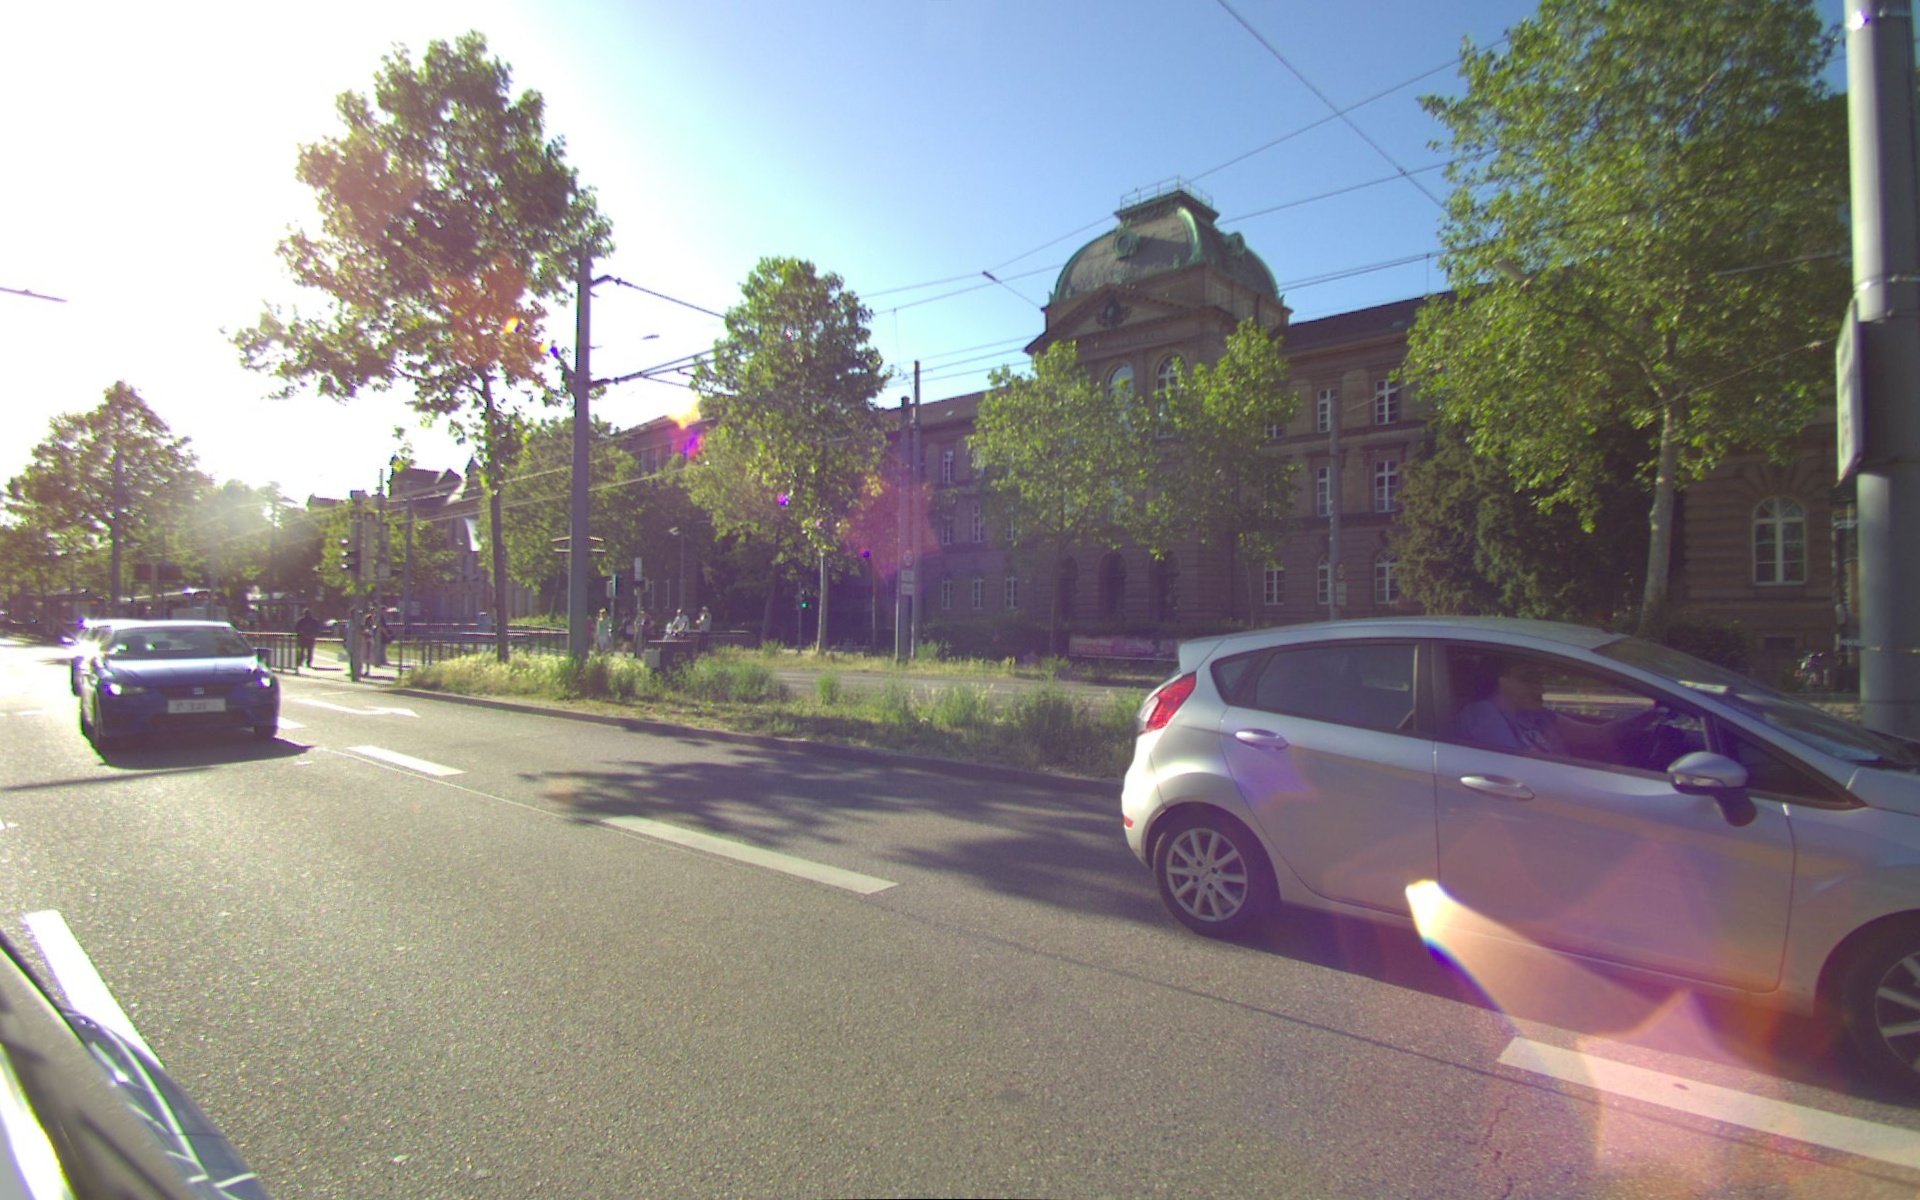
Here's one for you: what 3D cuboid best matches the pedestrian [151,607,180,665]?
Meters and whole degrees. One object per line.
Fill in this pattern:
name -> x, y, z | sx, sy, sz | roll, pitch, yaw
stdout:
pedestrian -> -28.604, 1.280, 36.441 | 0.787, 2.029, 0.701 | -1, 0, 44

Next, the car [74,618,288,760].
car -> -9.820, 0.983, 12.646 | 1.752, 1.459, 3.872 | -1, -1, -43

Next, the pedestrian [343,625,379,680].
pedestrian -> -14.043, 1.228, 23.741 | 0.424, 1.242, 0.587 | -1, 0, 33

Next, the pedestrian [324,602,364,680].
pedestrian -> -14.578, 0.959, 23.953 | 0.503, 1.820, 0.640 | -1, 0, 33

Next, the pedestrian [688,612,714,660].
pedestrian -> -8.961, 1.250, 35.022 | 0.692, 1.633, 0.592 | -1, 0, 10

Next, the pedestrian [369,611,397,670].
pedestrian -> -16.773, 1.164, 29.420 | 0.537, 1.674, 0.730 | -1, 0, -42

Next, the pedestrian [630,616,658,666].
pedestrian -> -10.715, 1.375, 34.339 | 0.692, 1.656, 0.593 | -1, 0, 7

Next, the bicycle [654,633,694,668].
bicycle -> -9.199, 1.599, 32.602 | 0.539, 1.049, 1.657 | 0, 0, 11

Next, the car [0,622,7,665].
car -> -37.188, 1.636, 38.110 | 1.749, 1.588, 3.828 | -1, 0, -42

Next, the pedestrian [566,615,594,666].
pedestrian -> -13.393, 1.430, 35.673 | 0.692, 1.758, 0.592 | -1, 0, 10

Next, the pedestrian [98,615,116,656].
pedestrian -> -44.866, 1.867, 53.229 | 0.704, 2.131, 0.788 | -1, 0, -42

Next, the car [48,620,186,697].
car -> -18.078, 1.175, 21.645 | 4.000, 1.439, 1.775 | -1, 0, 43

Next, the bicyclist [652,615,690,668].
bicyclist -> -9.283, 1.309, 32.554 | 0.826, 1.656, 0.966 | -1, 0, 10

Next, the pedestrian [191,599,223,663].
pedestrian -> -26.454, 1.069, 35.568 | 0.773, 2.204, 0.803 | -1, 0, -27

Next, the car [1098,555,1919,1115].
car -> 2.636, 0.680, 4.155 | 3.864, 1.607, 1.644 | -1, 0, 43

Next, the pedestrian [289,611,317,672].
pedestrian -> -18.304, 1.151, 28.194 | 0.572, 1.674, 0.668 | -1, 0, -38

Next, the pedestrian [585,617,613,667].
pedestrian -> -12.398, 1.423, 34.768 | 0.692, 1.689, 0.592 | -1, 0, 10

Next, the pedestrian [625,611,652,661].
pedestrian -> -11.306, 1.263, 35.620 | 0.692, 1.749, 0.592 | -1, 0, 10
